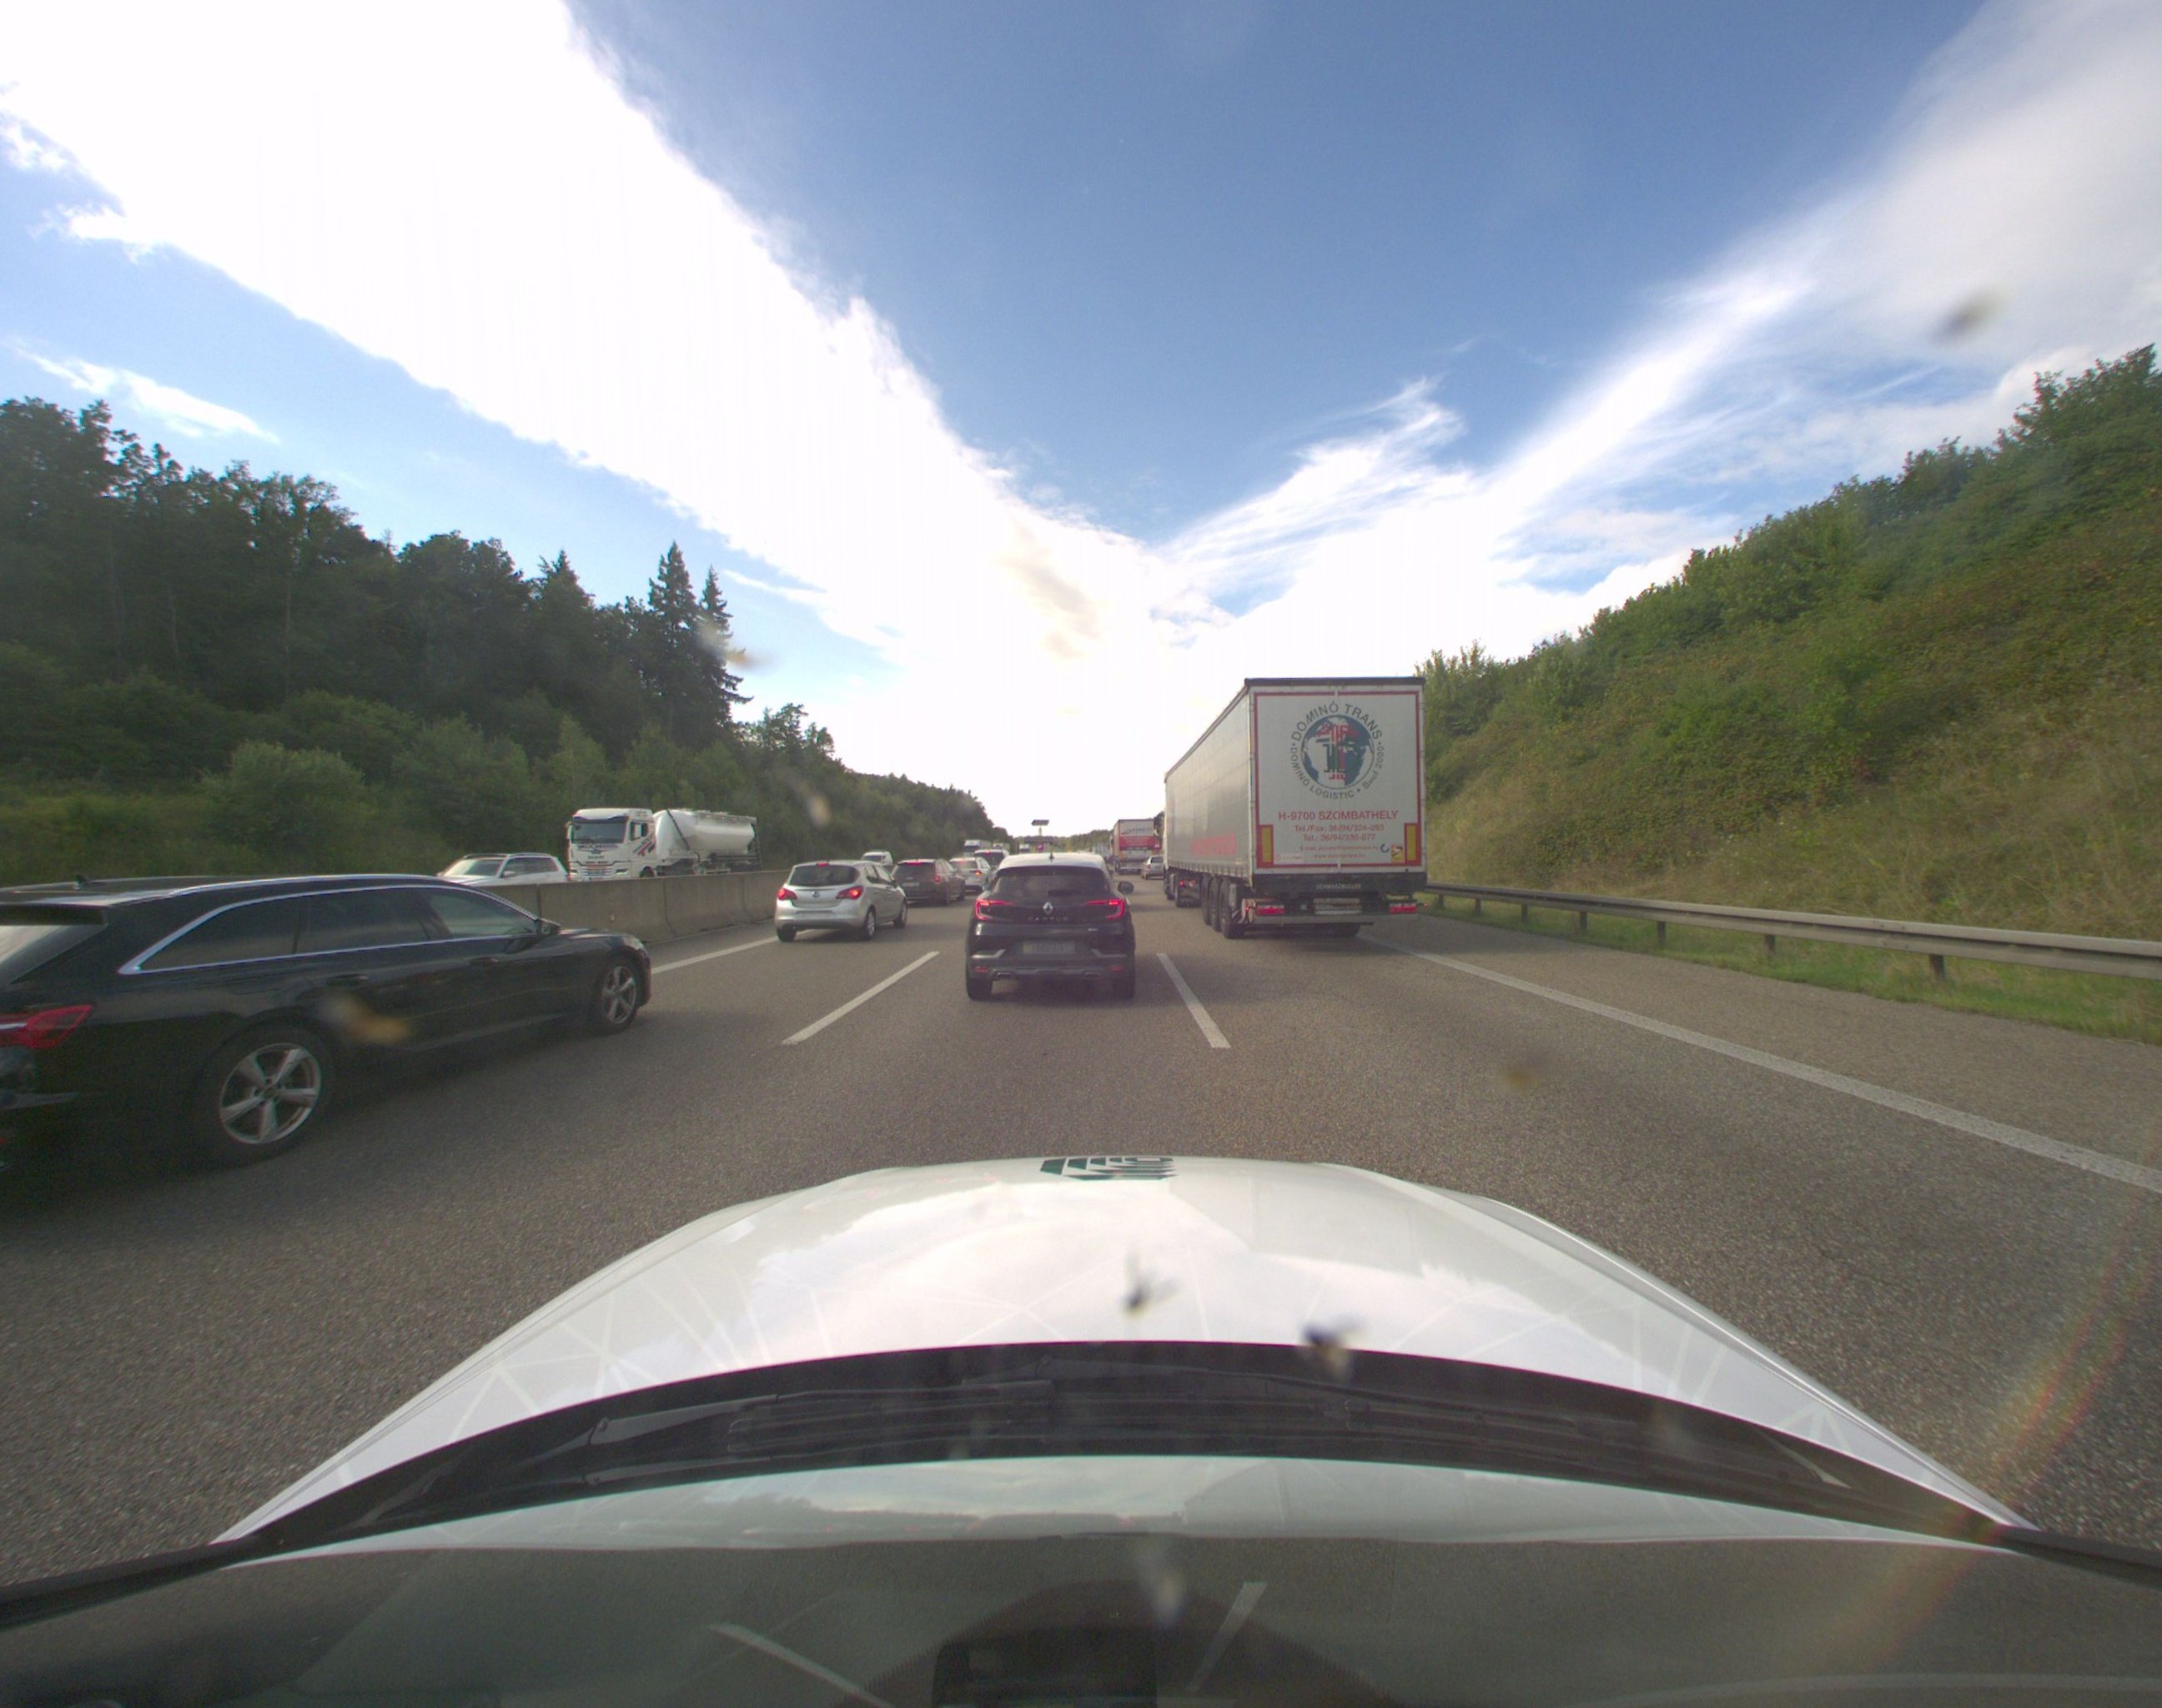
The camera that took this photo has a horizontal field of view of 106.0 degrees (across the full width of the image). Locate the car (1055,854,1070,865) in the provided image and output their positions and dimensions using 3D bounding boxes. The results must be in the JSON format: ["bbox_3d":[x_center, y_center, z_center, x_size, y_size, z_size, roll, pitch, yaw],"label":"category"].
[{"bbox_3d":[-2.630,0.752,119.127,1.986,1.613,4.001,-1,0,1],"label":"car"}]

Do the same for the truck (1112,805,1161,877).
[{"bbox_3d":[4.123,-0.849,63.225,3.352,5.044,12.741,0,-1,2],"label":"truck"}]

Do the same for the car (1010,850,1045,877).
[{"bbox_3d":[-3.578,0.616,54.844,1.986,1.722,4.001,0,-1,1],"label":"car"}]

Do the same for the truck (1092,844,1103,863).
[{"bbox_3d":[5.150,-0.127,248.850,3.155,5.505,12.741,0,-1,2],"label":"truck"}]

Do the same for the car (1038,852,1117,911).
[{"bbox_3d":[-0.035,0.719,22.775,1.986,1.514,4.001,0,-1,1],"label":"car"}]

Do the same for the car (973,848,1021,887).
[{"bbox_3d":[-4.048,0.639,40.000,1.905,1.789,4.416,0,-1,0],"label":"car"}]

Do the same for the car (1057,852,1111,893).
[{"bbox_3d":[0.170,0.700,32.266,1.986,1.514,4.001,0,-1,1],"label":"car"}]

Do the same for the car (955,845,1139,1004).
[{"bbox_3d":[-0.225,0.709,10.059,1.797,1.552,4.003,-1,0,3],"label":"car"}]

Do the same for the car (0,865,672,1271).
[{"bbox_3d":[-4.954,0.850,5.407,1.875,1.471,4.854,0,0,2],"label":"car"}]

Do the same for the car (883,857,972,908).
[{"bbox_3d":[-4.776,0.831,26.085,1.836,1.456,4.749,0,0,1],"label":"car"}]

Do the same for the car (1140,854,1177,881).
[{"bbox_3d":[4.572,0.768,48.526,1.799,1.533,3.925,0,-1,0],"label":"car"}]

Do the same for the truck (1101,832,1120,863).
[{"bbox_3d":[5.427,-1.065,147.301,3.153,5.505,12.747,0,-1,3],"label":"truck"}]

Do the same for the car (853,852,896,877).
[{"bbox_3d":[-14.423,0.695,57.106,1.846,1.712,4.324,0,0,1],"label":"car"}]

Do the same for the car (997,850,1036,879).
[{"bbox_3d":[-3.755,0.609,48.058,1.848,1.641,3.927,0,-1,2],"label":"car"}]

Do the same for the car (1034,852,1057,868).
[{"bbox_3d":[-3.543,0.572,82.031,1.986,1.613,4.001,-1,0,1],"label":"car"}]

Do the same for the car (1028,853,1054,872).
[{"bbox_3d":[-3.434,0.750,70.499,1.986,1.613,4.001,0,-1,1],"label":"car"}]

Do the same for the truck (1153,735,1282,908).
[{"bbox_3d":[3.981,-0.882,25.132,2.987,4.667,5.939,-1,0,1],"label":"truck"}]

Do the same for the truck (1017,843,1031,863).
[{"bbox_3d":[-14.715,-0.312,210.620,3.078,5.101,7.141,0,-1,0],"label":"truck"}]

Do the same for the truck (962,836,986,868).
[{"bbox_3d":[-18.067,-0.309,137.908,3.029,5.253,6.883,0,-1,0],"label":"truck"}]

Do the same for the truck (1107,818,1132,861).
[{"bbox_3d":[5.131,-1.773,110.388,3.155,5.505,12.741,0,-1,2],"label":"truck"}]

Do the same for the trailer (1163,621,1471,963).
[{"bbox_3d":[3.890,-0.859,17.783,2.992,4.661,13.290,-1,0,1],"label":"trailer"}]

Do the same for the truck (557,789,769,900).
[{"bbox_3d":[-19.145,-0.325,39.107,2.922,4.354,13.910,0,-1,0],"label":"truck"}]

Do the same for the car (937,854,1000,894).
[{"bbox_3d":[-4.462,0.773,32.899,1.798,1.461,4.310,-1,0,2],"label":"car"}]

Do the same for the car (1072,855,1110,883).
[{"bbox_3d":[0.588,0.809,45.230,1.986,1.514,4.001,0,-1,1],"label":"car"}]

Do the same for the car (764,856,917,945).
[{"bbox_3d":[-4.572,0.815,16.136,1.741,1.465,4.041,-1,0,1],"label":"car"}]

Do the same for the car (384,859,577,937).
[{"bbox_3d":[-15.643,1.058,21.551,1.846,1.810,4.324,0,0,1],"label":"car"}]

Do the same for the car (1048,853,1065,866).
[{"bbox_3d":[-3.202,0.649,105.792,1.986,1.613,4.001,-1,0,1],"label":"car"}]

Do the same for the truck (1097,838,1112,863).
[{"bbox_3d":[5.264,-0.703,181.890,3.155,5.159,12.741,0,-1,2],"label":"truck"}]
